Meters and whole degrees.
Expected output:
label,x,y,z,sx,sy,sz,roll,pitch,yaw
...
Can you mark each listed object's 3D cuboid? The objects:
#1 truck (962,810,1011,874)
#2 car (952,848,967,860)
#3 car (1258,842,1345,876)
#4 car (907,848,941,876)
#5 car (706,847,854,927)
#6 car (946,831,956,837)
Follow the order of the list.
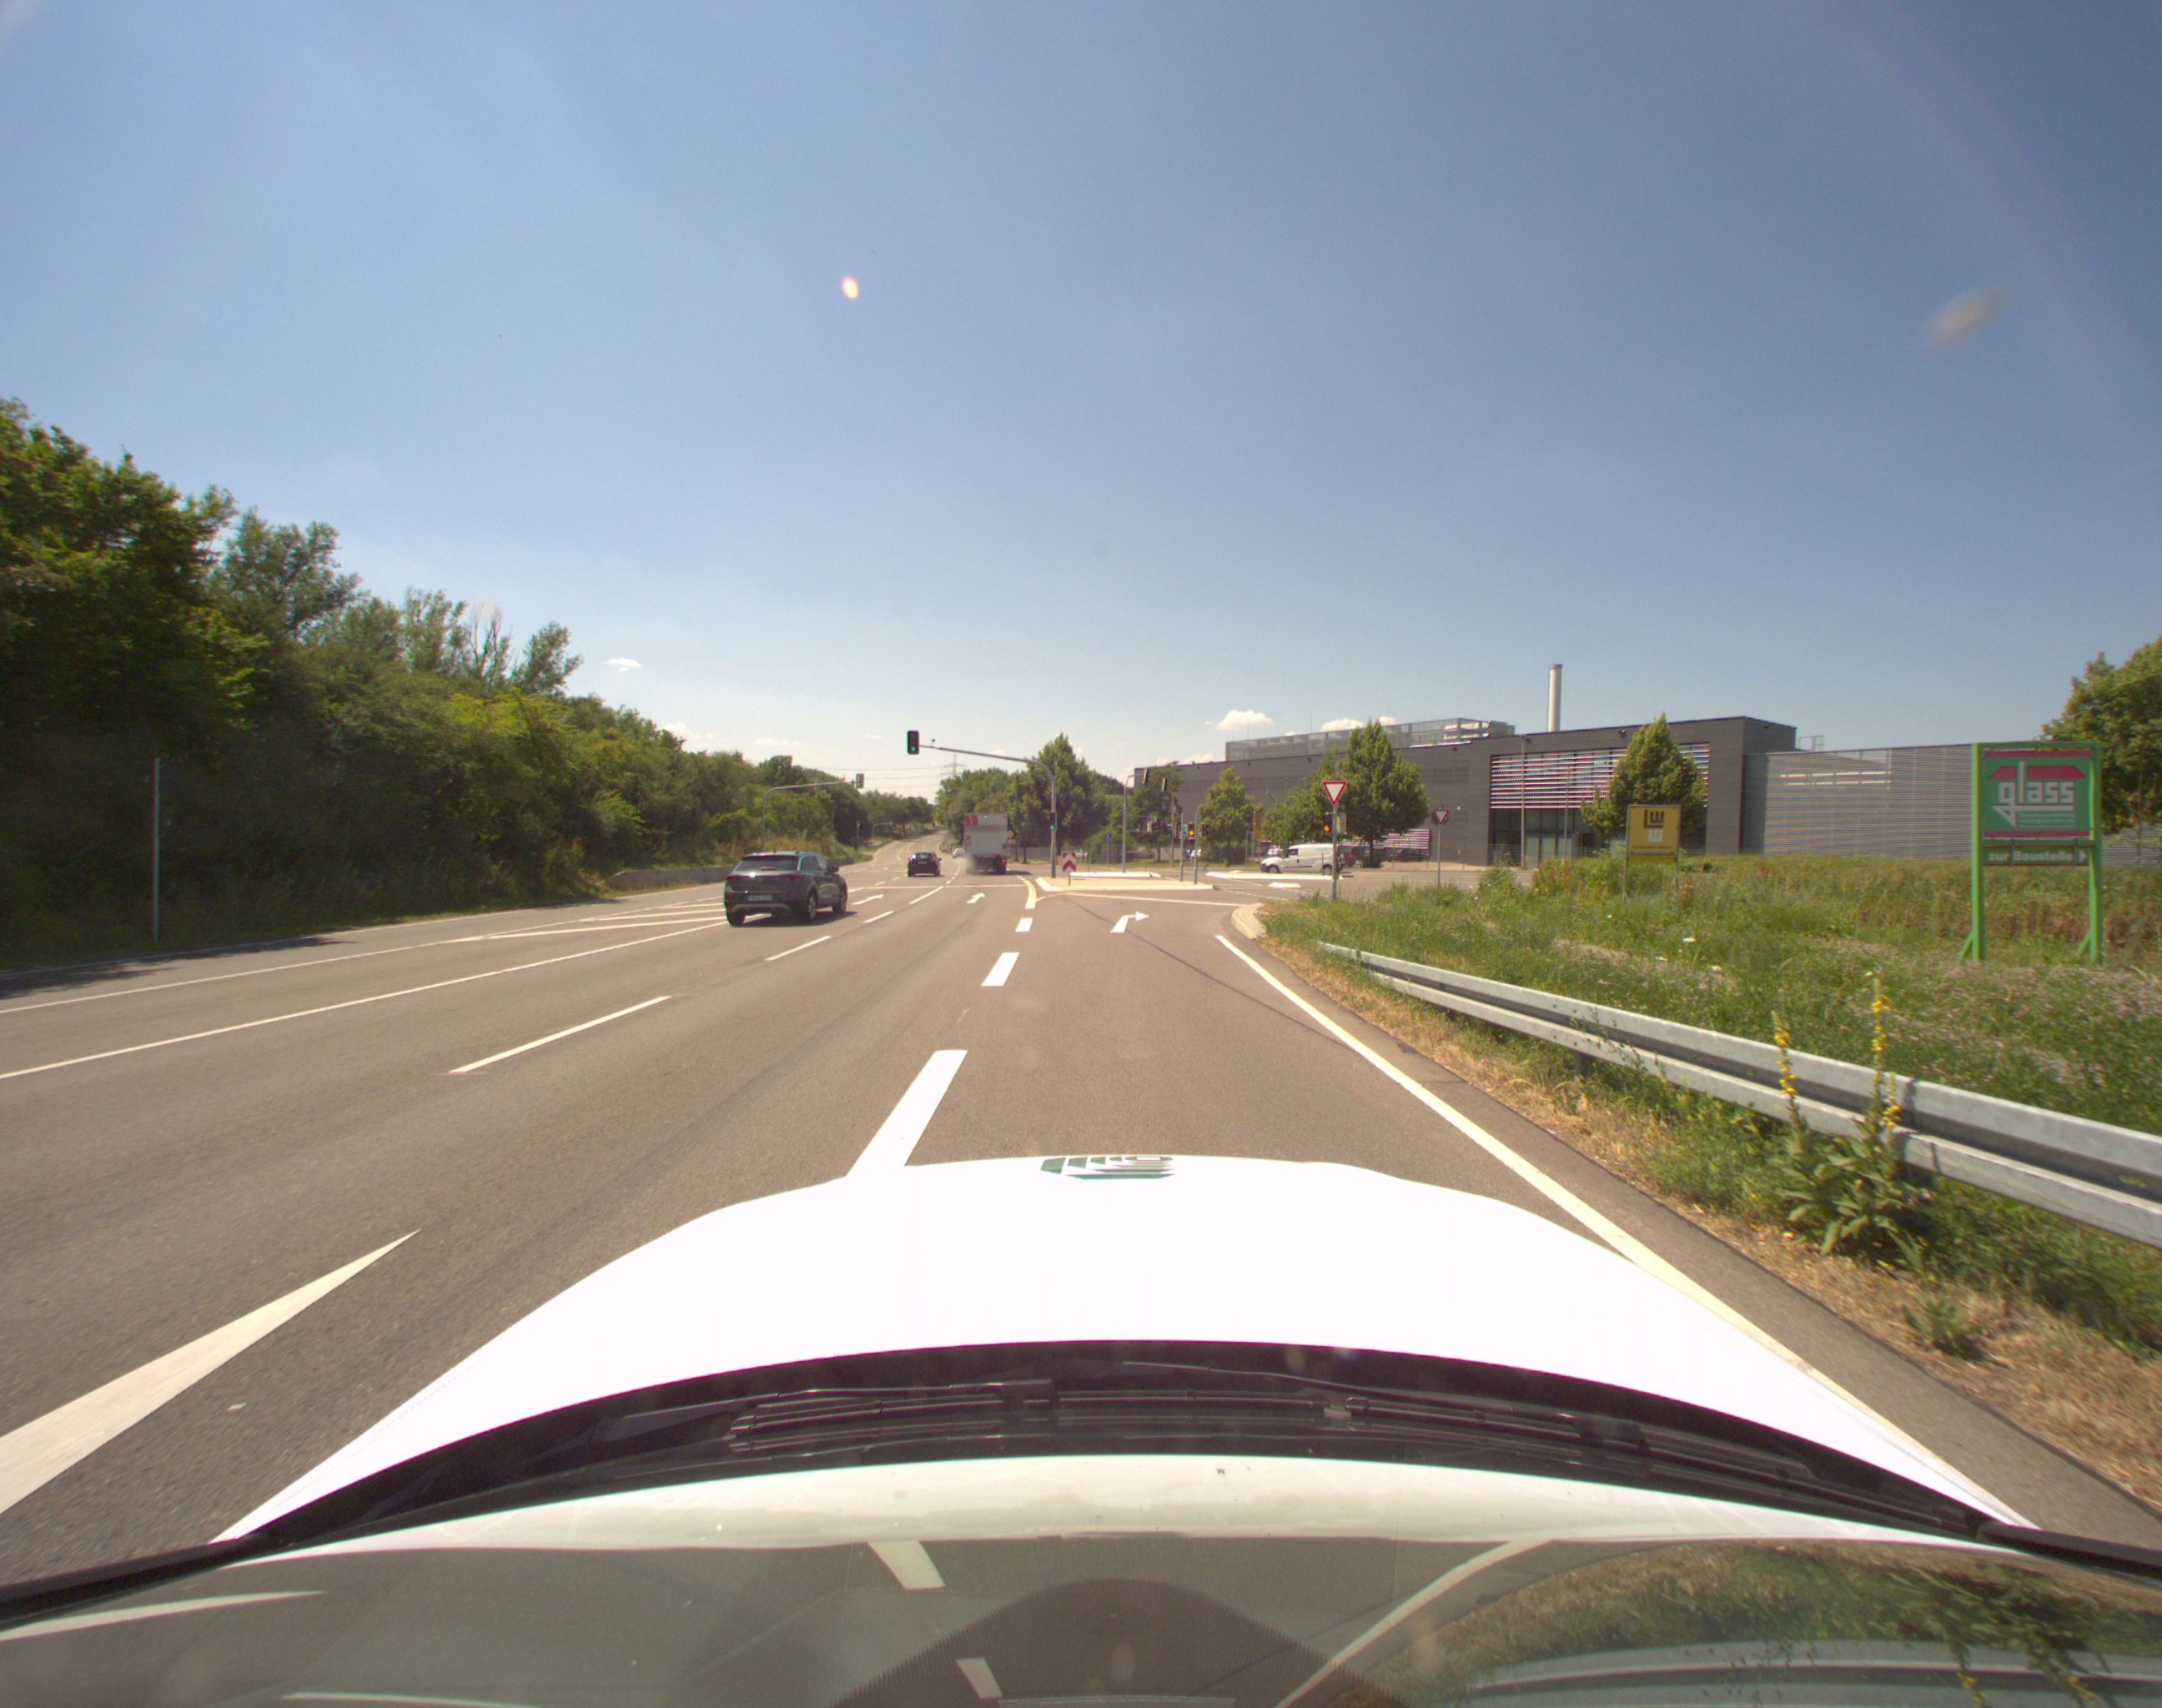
label,x,y,z,sx,sy,sz,roll,pitch,yaw
truck,-6.027,-0.763,51.617,2.801,3.710,9.086,0,1,-7
car,-18.859,0.008,126.626,1.945,1.664,3.983,3,1,-13
car,13.001,0.258,47.960,4.703,1.932,2.165,0,0,23
car,-9.120,0.426,47.609,1.651,1.493,4.198,0,2,-7
car,-6.668,0.653,18.612,1.829,1.586,4.388,-1,0,-2
car,-40.405,-6.112,253.203,1.983,1.684,4.008,0,0,7
